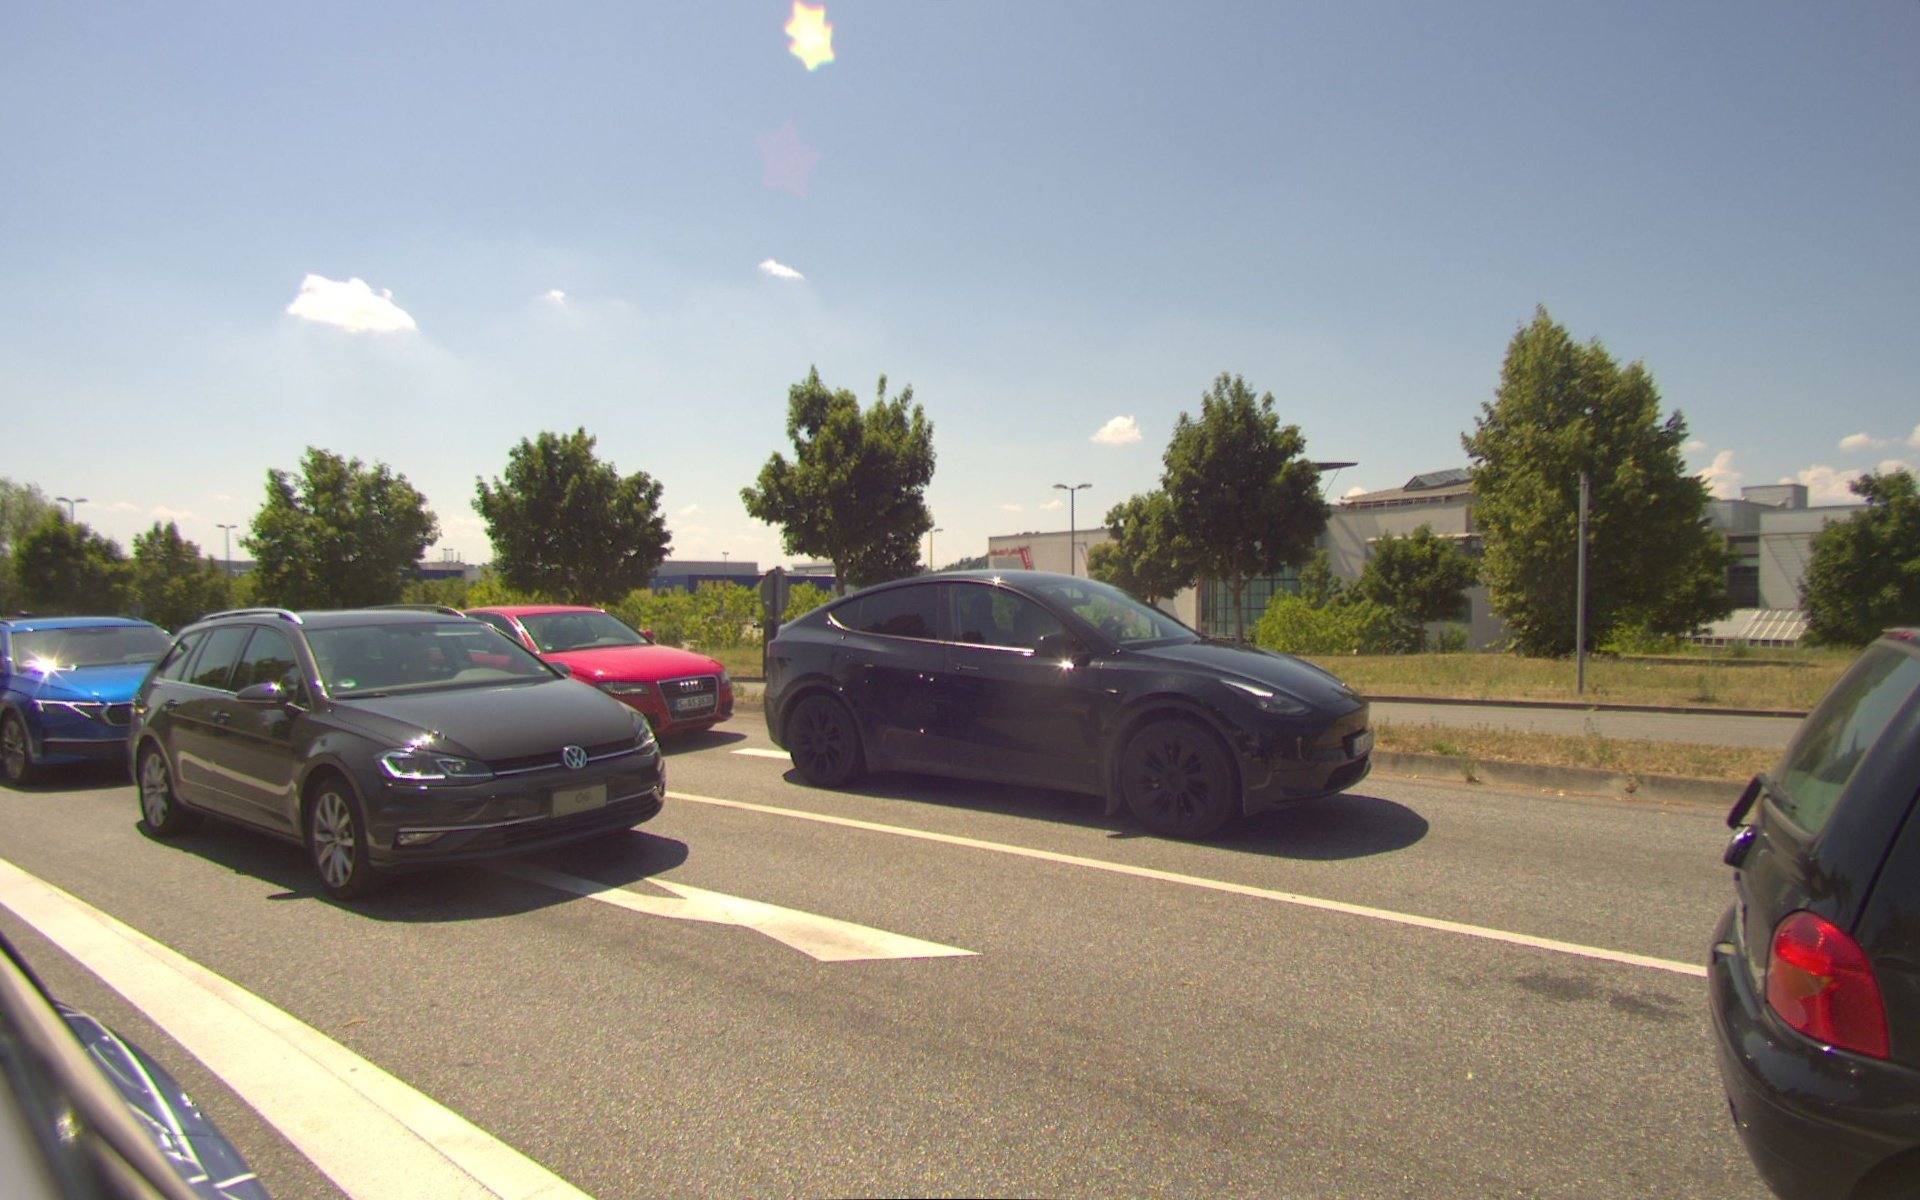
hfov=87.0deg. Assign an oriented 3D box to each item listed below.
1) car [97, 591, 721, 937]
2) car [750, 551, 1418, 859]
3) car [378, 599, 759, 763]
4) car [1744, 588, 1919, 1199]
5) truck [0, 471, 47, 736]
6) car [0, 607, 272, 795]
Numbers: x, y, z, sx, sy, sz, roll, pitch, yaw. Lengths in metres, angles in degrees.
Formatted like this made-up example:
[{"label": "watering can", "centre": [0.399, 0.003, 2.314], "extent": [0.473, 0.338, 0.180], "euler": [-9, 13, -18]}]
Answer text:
[{"label": "car", "centre": [-3.677, 0.734, 6.417], "extent": [4.420, 1.493, 1.762], "euler": [-1, 0, 36]}, {"label": "car", "centre": [0.723, 0.556, 7.364], "extent": [4.496, 1.613, 1.859], "euler": [-1, 0, 36]}, {"label": "car", "centre": [-4.335, 0.730, 10.905], "extent": [4.440, 1.398, 1.646], "euler": [-1, 1, 36]}, {"label": "car", "centre": [3.172, 0.681, 1.360], "extent": [3.295, 1.418, 1.604], "euler": [0, 0, 37]}, {"label": "truck", "centre": [-15.687, 0.184, 14.090], "extent": [7.176, 3.373, 2.390], "euler": [-3, -1, 31]}, {"label": "car", "centre": [-8.884, 0.886, 10.044], "extent": [4.473, 1.473, 1.695], "euler": [-2, 0, 32]}]
